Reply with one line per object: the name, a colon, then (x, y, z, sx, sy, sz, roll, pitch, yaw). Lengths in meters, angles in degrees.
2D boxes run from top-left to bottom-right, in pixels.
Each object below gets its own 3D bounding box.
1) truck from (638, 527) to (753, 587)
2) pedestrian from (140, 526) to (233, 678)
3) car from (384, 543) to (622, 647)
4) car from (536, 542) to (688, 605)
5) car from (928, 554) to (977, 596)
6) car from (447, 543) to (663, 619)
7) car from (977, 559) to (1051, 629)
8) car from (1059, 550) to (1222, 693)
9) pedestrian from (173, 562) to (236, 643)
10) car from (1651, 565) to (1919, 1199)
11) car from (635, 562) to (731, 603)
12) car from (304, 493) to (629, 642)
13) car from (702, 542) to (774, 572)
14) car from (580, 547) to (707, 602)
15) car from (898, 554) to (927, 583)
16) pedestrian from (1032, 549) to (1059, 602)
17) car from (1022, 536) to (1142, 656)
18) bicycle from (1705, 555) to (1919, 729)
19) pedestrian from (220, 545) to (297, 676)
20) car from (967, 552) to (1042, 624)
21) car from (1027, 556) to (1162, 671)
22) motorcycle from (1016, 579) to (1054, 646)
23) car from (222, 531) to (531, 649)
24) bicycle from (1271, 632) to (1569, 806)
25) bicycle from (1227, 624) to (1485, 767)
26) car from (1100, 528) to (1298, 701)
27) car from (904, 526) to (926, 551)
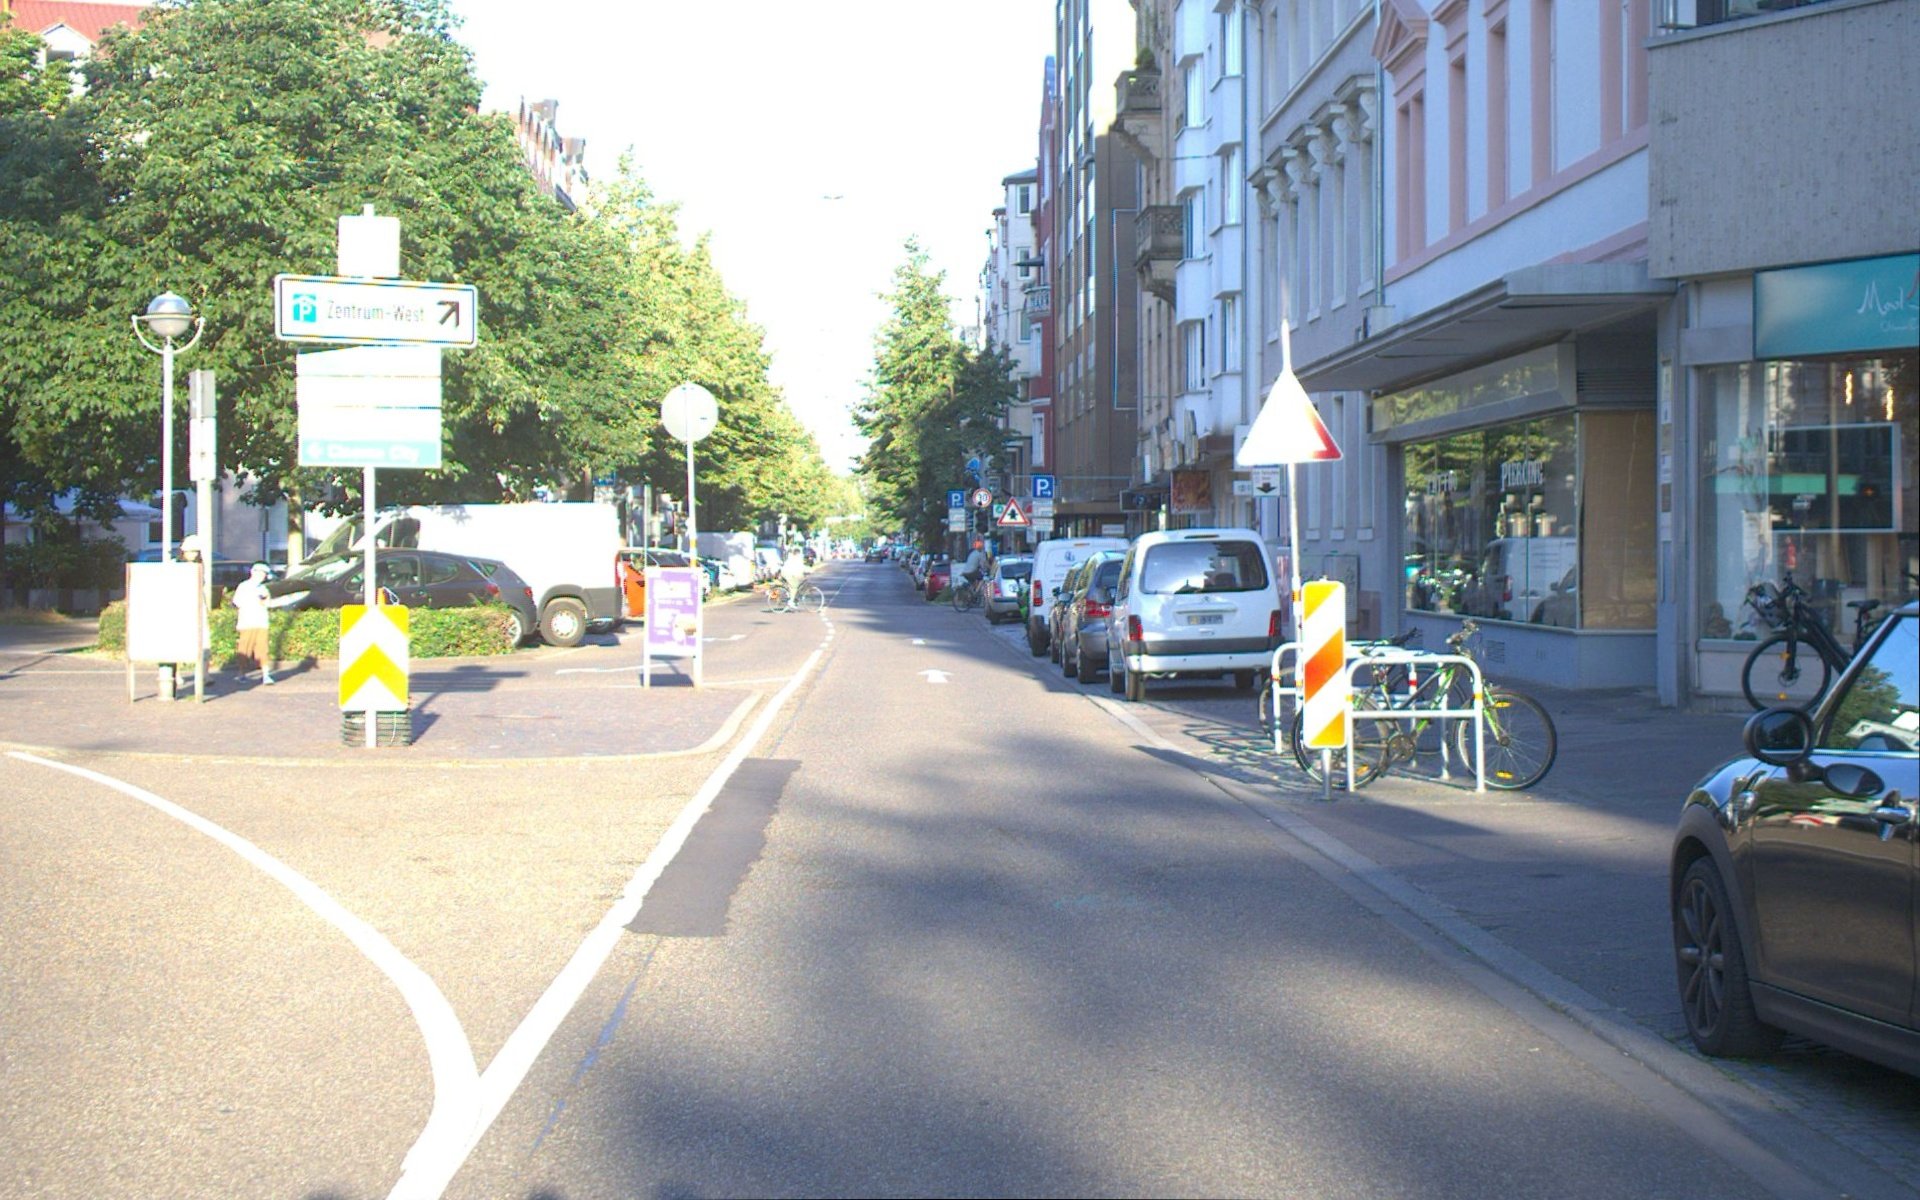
truck: (-11.617, -1.880, 151.154, 4.940, 2.606, 2.000, 0, 0, -2)
pedestrian: (-8.071, 0.019, 35.866, 0.697, 1.553, 0.694, 0, 1, -38)
car: (-8.536, -0.099, 64.338, 3.988, 1.872, 1.871, 0, 1, -37)
car: (-10.582, -0.814, 104.715, 4.448, 1.829, 2.034, 1, 1, -2)
car: (-0.292, -0.919, 128.692, 1.576, 1.537, 3.397, 1, 0, -4)
car: (-8.456, -0.396, 71.794, 3.986, 1.480, 2.000, 1, 1, -30)
car: (1.287, -0.159, 81.685, 1.680, 1.556, 4.000, -1, 1, 1)
car: (2.201, 0.228, 42.911, 1.656, 1.659, 4.108, 1, 1, -2)
pedestrian: (-12.064, 0.033, 54.888, 0.747, 1.273, 0.661, 0, 1, -38)
car: (3.146, 0.692, 9.118, 1.790, 1.502, 3.921, 1, 1, 0)
car: (-11.236, -0.725, 139.613, 3.739, 1.590, 2.000, 1, 1, -2)
car: (-7.843, -0.503, 54.681, 4.598, 2.243, 2.203, 1, 0, -28)
car: (-11.859, -2.299, 184.017, 3.739, 1.487, 2.000, 1, 1, -2)
car: (-10.277, -0.838, 111.806, 3.989, 1.702, 1.833, 1, 1, -2)
car: (-2.224, -1.461, 160.659, 1.206, 1.296, 2.661, 1, 0, -4)
pedestrian: (2.739, -0.786, 110.356, 0.765, 1.683, 0.786, -1, 1, -3)
car: (1.932, -0.096, 55.495, 1.710, 1.829, 4.306, 1, 1, 0)
bicycle: (6.590, 0.336, 26.474, 0.414, 1.272, 1.663, -1, -2, -44)
pedestrian: (-7.407, 0.111, 36.281, 0.562, 1.359, 0.614, 0, 1, -38)
car: (1.110, -0.324, 86.704, 1.696, 1.763, 4.001, 0, 1, -2)
car: (1.900, 0.161, 49.479, 1.667, 1.539, 3.883, 1, 1, -2)
motorcycle: (1.420, 0.225, 64.980, 0.588, 1.196, 2.210, 1, 1, -2)
car: (-8.146, -0.161, 48.141, 3.873, 1.577, 1.802, 0, 1, -40)
bicycle: (2.893, 0.746, 21.563, 1.788, 0.986, 0.542, -2, 2, 11)
bicycle: (2.941, 0.712, 25.550, 1.789, 0.986, 0.541, -2, 2, 22)
car: (2.546, 0.127, 37.512, 1.792, 1.785, 4.092, 0, 1, -1)
car: (-2.996, -4.098, 230.713, 1.308, 1.594, 2.661, 1, 0, -4)
